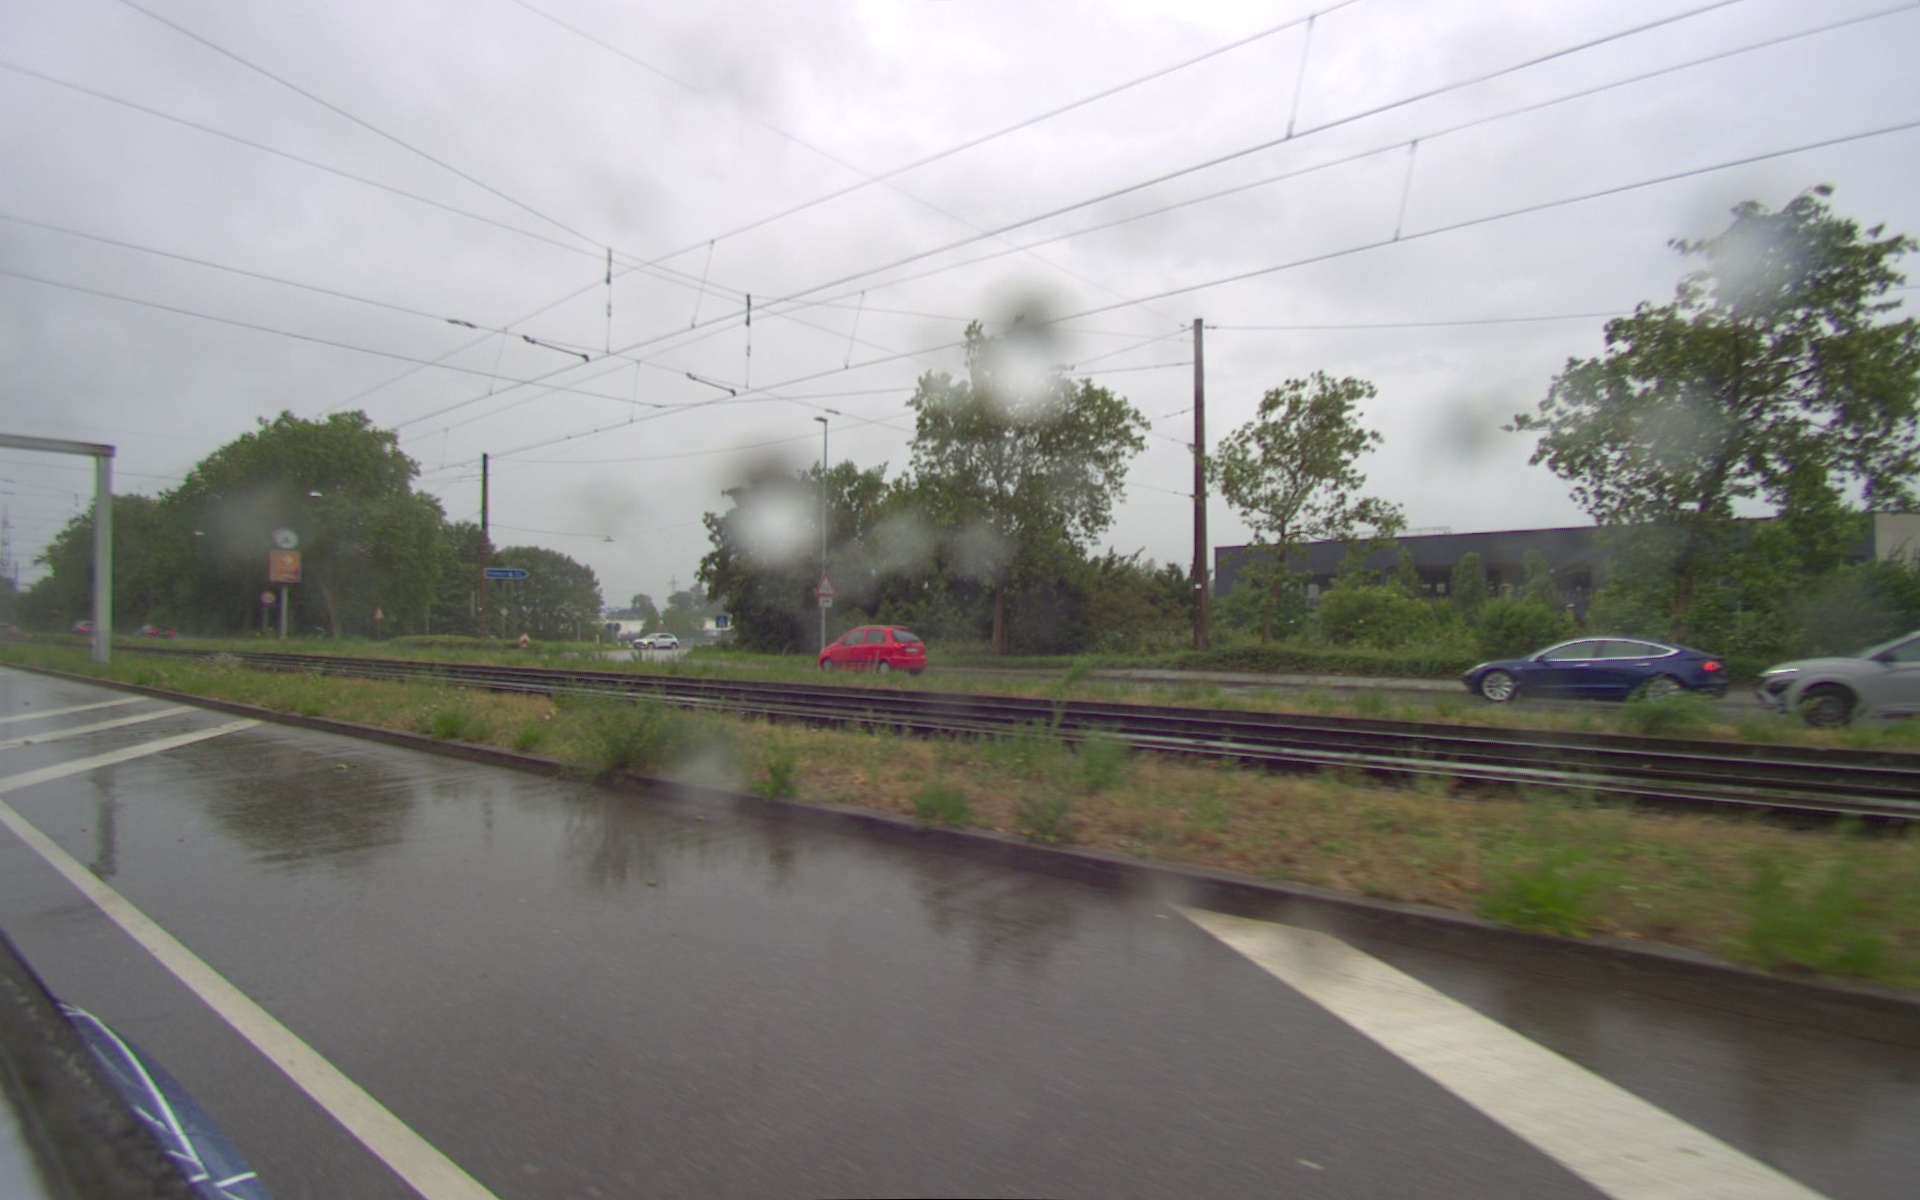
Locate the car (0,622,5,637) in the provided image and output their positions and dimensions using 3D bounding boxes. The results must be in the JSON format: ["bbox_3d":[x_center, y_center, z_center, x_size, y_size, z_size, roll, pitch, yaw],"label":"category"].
[{"bbox_3d":[-133.078,4.101,139.285,3.998,2.029,1.973,-2,-2,41],"label":"car"}]

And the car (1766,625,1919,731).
[{"bbox_3d":[14.621,1.124,14.866,4.295,1.497,1.973,-1,-2,40],"label":"car"}]

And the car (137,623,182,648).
[{"bbox_3d":[-66.388,2.918,83.901,4.514,2.029,1.951,-1,-2,38],"label":"car"}]

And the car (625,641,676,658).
[{"bbox_3d":[-27.972,4.453,91.692,1.602,1.366,4.440,-1,-1,33],"label":"car"}]

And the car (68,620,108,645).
[{"bbox_3d":[-72.891,2.697,84.573,3.998,2.029,1.973,-2,-2,41],"label":"car"}]

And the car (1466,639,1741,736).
[{"bbox_3d":[13.085,1.689,20.725,4.534,1.694,1.974,-1,-2,40],"label":"car"}]

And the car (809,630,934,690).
[{"bbox_3d":[-2.622,1.702,29.610,3.617,1.602,1.585,-1,-1,41],"label":"car"}]
